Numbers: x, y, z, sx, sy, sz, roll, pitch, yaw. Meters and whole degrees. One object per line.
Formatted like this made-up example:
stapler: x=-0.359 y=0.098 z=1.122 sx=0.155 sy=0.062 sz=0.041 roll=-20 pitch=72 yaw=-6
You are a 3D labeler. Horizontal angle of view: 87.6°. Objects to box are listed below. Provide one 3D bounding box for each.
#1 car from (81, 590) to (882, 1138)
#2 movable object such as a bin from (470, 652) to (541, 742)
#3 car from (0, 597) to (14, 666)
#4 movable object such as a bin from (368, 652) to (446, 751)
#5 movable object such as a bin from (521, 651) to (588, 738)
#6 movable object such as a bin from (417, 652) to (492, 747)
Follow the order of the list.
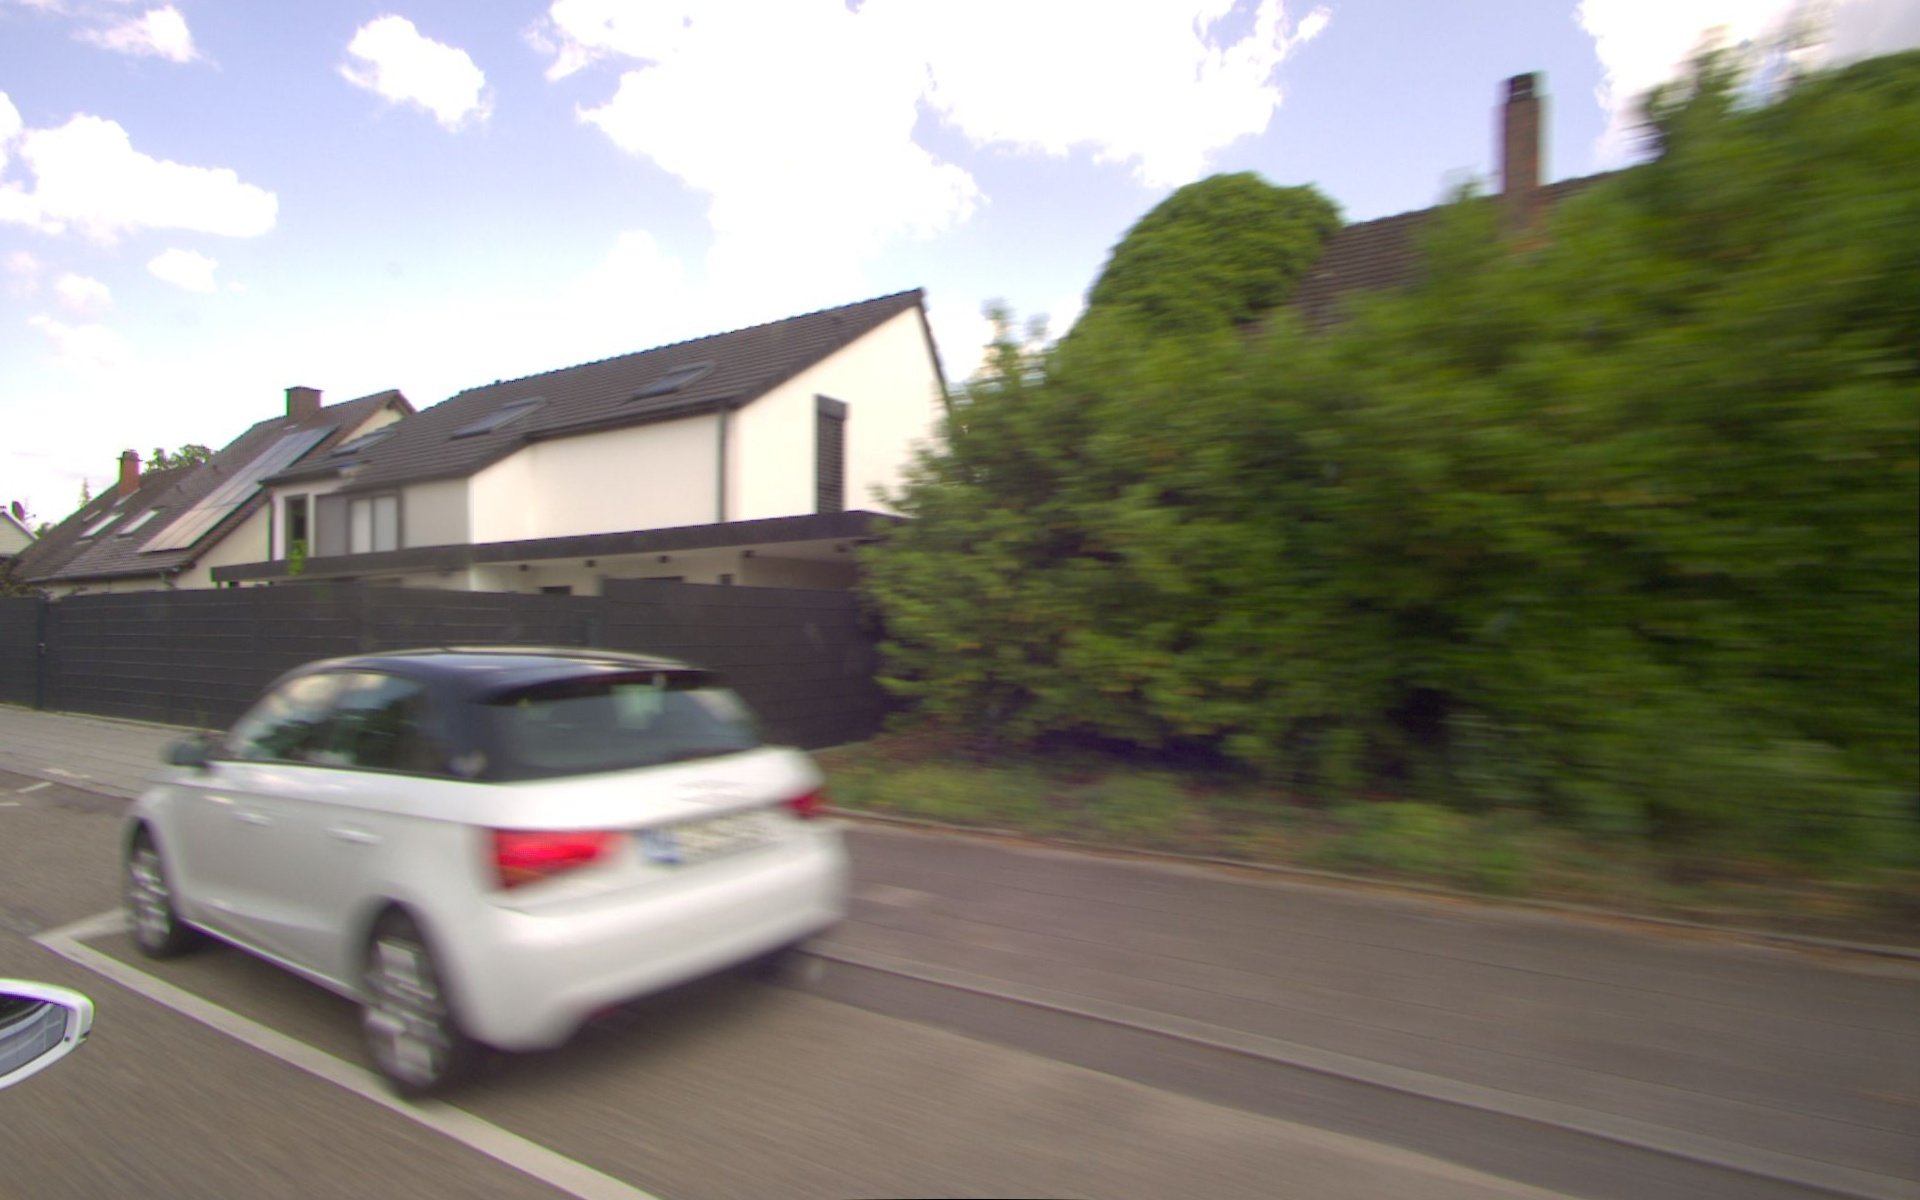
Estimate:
car: x=-2.322 y=0.784 z=4.551 sx=3.699 sy=1.505 sz=1.717 roll=-1 pitch=-2 yaw=36
movable object such as a bin: x=-5.533 y=1.162 z=12.193 sx=0.621 sy=1.052 sz=0.515 roll=0 pitch=-2 yaw=33
car: x=-31.552 y=0.893 z=29.501 sx=5.307 sy=2.083 sz=1.981 roll=3 pitch=-3 yaw=-44
movable object such as a bin: x=-6.157 y=1.107 z=11.158 sx=0.621 sy=1.052 sz=0.515 roll=0 pitch=-2 yaw=33
movable object such as a bin: x=-5.137 y=1.178 z=12.688 sx=0.621 sy=1.052 sz=0.515 roll=0 pitch=-2 yaw=33
movable object such as a bin: x=-5.871 y=1.137 z=11.632 sx=0.621 sy=1.052 sz=0.515 roll=0 pitch=-2 yaw=33
